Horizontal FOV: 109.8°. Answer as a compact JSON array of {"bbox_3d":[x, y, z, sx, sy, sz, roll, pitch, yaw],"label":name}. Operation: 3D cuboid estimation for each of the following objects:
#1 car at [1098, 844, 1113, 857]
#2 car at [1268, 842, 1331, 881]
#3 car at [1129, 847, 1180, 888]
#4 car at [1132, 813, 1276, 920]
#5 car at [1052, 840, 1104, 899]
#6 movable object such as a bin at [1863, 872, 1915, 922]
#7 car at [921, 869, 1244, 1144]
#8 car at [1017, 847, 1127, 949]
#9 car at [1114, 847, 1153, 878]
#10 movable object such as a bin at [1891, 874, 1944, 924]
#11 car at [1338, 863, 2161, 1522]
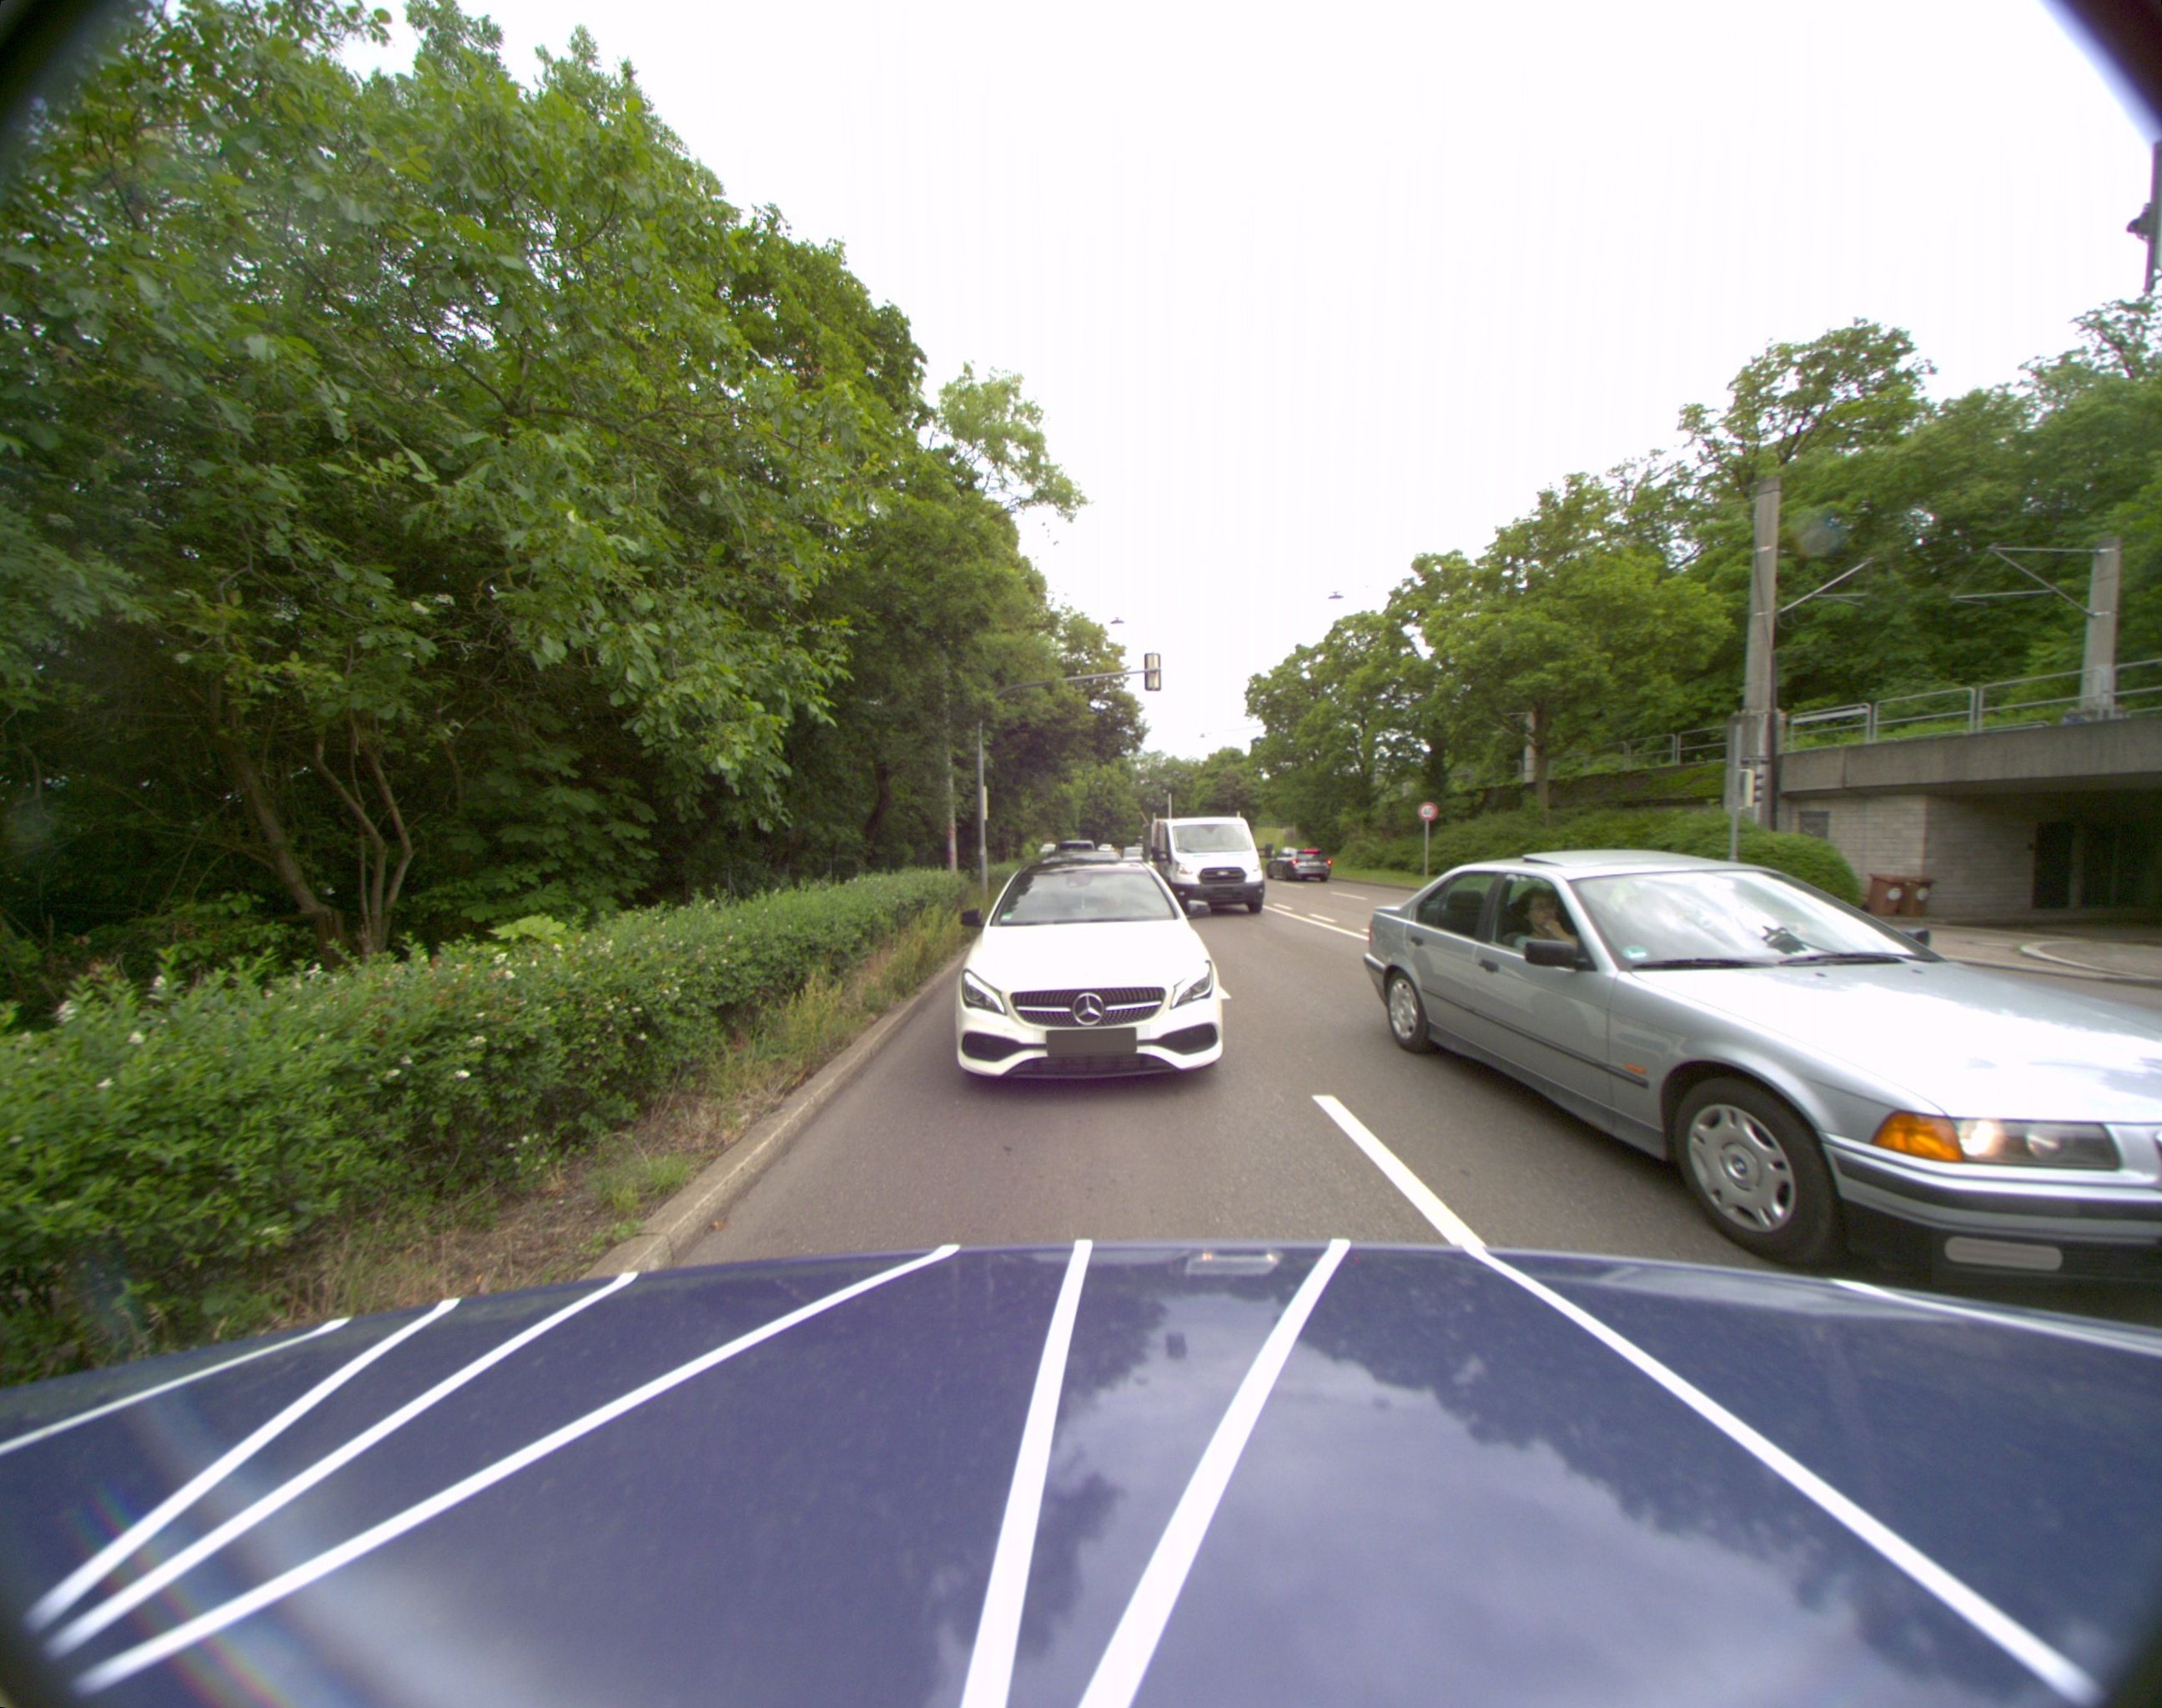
[{"bbox_3d":[3.094,-0.479,95.279,1.677,1.532,4.616,-1,1,5],"label":"car"},{"bbox_3d":[9.207,0.276,32.287,1.677,1.532,3.749,-1,1,1],"label":"car"},{"bbox_3d":[2.933,0.488,31.227,1.677,1.532,4.552,-1,1,0],"label":"car"},{"bbox_3d":[2.737,0.198,18.835,2.253,2.114,6.667,-2,1,-2],"label":"car"},{"bbox_3d":[-0.149,0.526,29.152,1.826,2.059,4.613,-1,1,-1],"label":"car"},{"bbox_3d":[18.301,0.967,17.226,0.544,1.092,0.563,1,1,-1],"label":"movable object such as a bin"},{"bbox_3d":[0.003,0.904,6.440,1.807,1.385,4.283,-1,1,0],"label":"car"},{"bbox_3d":[-0.195,0.665,14.057,1.678,1.532,4.613,-1,1,-1],"label":"car"},{"bbox_3d":[2.744,0.420,40.580,1.678,1.532,4.613,-1,1,-1],"label":"car"},{"bbox_3d":[18.896,1.008,17.169,0.544,1.070,0.563,1,1,-1],"label":"movable object such as a bin"},{"bbox_3d":[3.050,0.818,4.070,1.757,1.385,4.614,-1,1,0],"label":"car"}]
